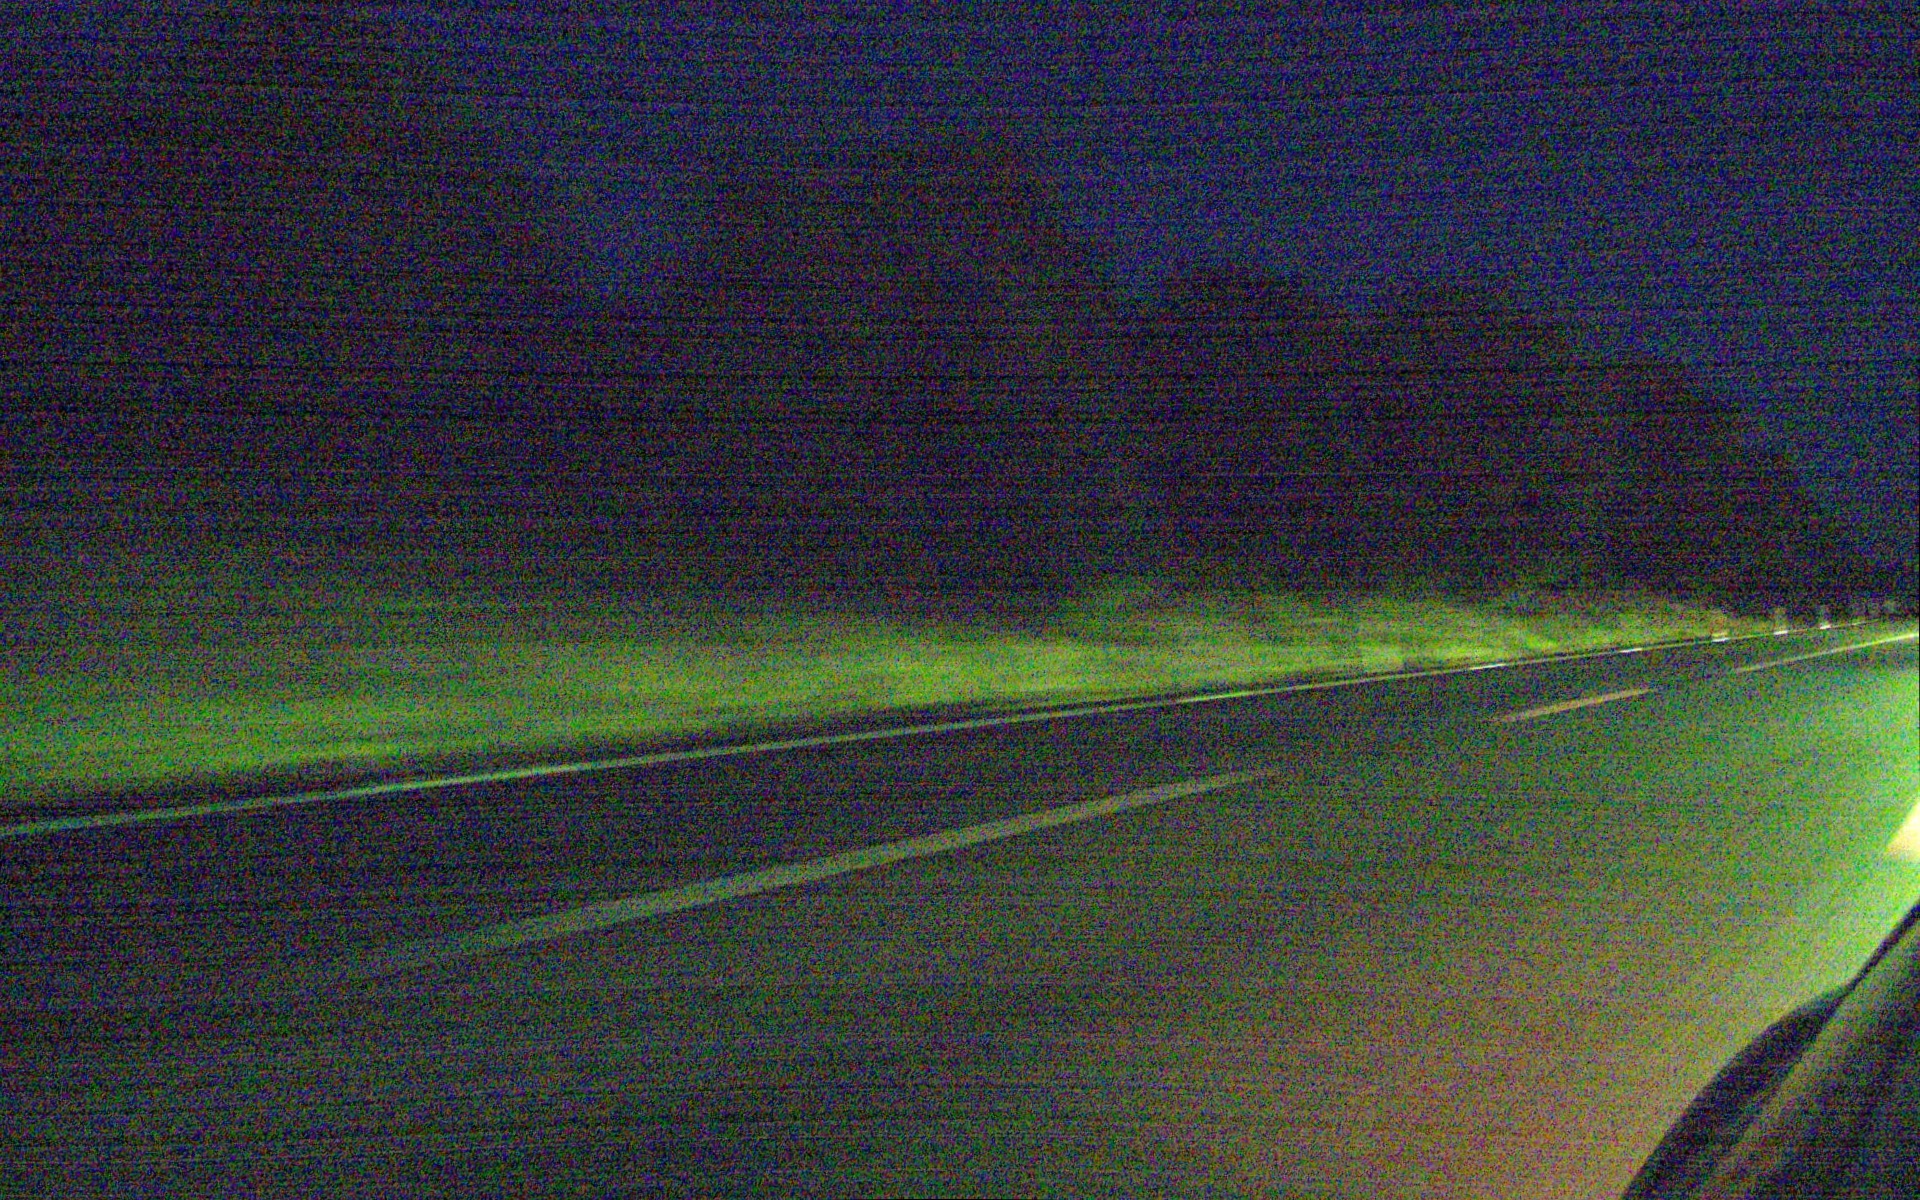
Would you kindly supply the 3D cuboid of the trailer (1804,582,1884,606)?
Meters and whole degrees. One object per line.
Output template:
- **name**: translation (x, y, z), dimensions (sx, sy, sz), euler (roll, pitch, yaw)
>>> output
- **trailer**: translation (139.220, -0.909, 159.674), dimensions (2.500, 3.711, 12.969), euler (-1, 0, 7)

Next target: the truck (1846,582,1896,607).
- **truck**: translation (138.460, -0.869, 153.923), dimensions (2.490, 3.696, 6.196), euler (-1, 0, 8)

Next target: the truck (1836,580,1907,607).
- **truck**: translation (142.855, -0.986, 158.779), dimensions (3.006, 3.975, 9.648), euler (-1, 0, 5)

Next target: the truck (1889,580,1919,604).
- **truck**: translation (162.663, -1.318, 171.090), dimensions (3.006, 3.975, 9.648), euler (-1, 0, 5)

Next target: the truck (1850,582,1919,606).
- **truck**: translation (147.000, -0.936, 160.949), dimensions (3.006, 3.735, 9.648), euler (-1, 0, 5)

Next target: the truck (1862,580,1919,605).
- **truck**: translation (155.572, -1.194, 168.237), dimensions (3.006, 3.975, 9.648), euler (-1, 0, 5)

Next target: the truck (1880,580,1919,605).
- **truck**: translation (159.179, -1.259, 169.031), dimensions (2.908, 3.975, 9.648), euler (-1, 0, 5)
